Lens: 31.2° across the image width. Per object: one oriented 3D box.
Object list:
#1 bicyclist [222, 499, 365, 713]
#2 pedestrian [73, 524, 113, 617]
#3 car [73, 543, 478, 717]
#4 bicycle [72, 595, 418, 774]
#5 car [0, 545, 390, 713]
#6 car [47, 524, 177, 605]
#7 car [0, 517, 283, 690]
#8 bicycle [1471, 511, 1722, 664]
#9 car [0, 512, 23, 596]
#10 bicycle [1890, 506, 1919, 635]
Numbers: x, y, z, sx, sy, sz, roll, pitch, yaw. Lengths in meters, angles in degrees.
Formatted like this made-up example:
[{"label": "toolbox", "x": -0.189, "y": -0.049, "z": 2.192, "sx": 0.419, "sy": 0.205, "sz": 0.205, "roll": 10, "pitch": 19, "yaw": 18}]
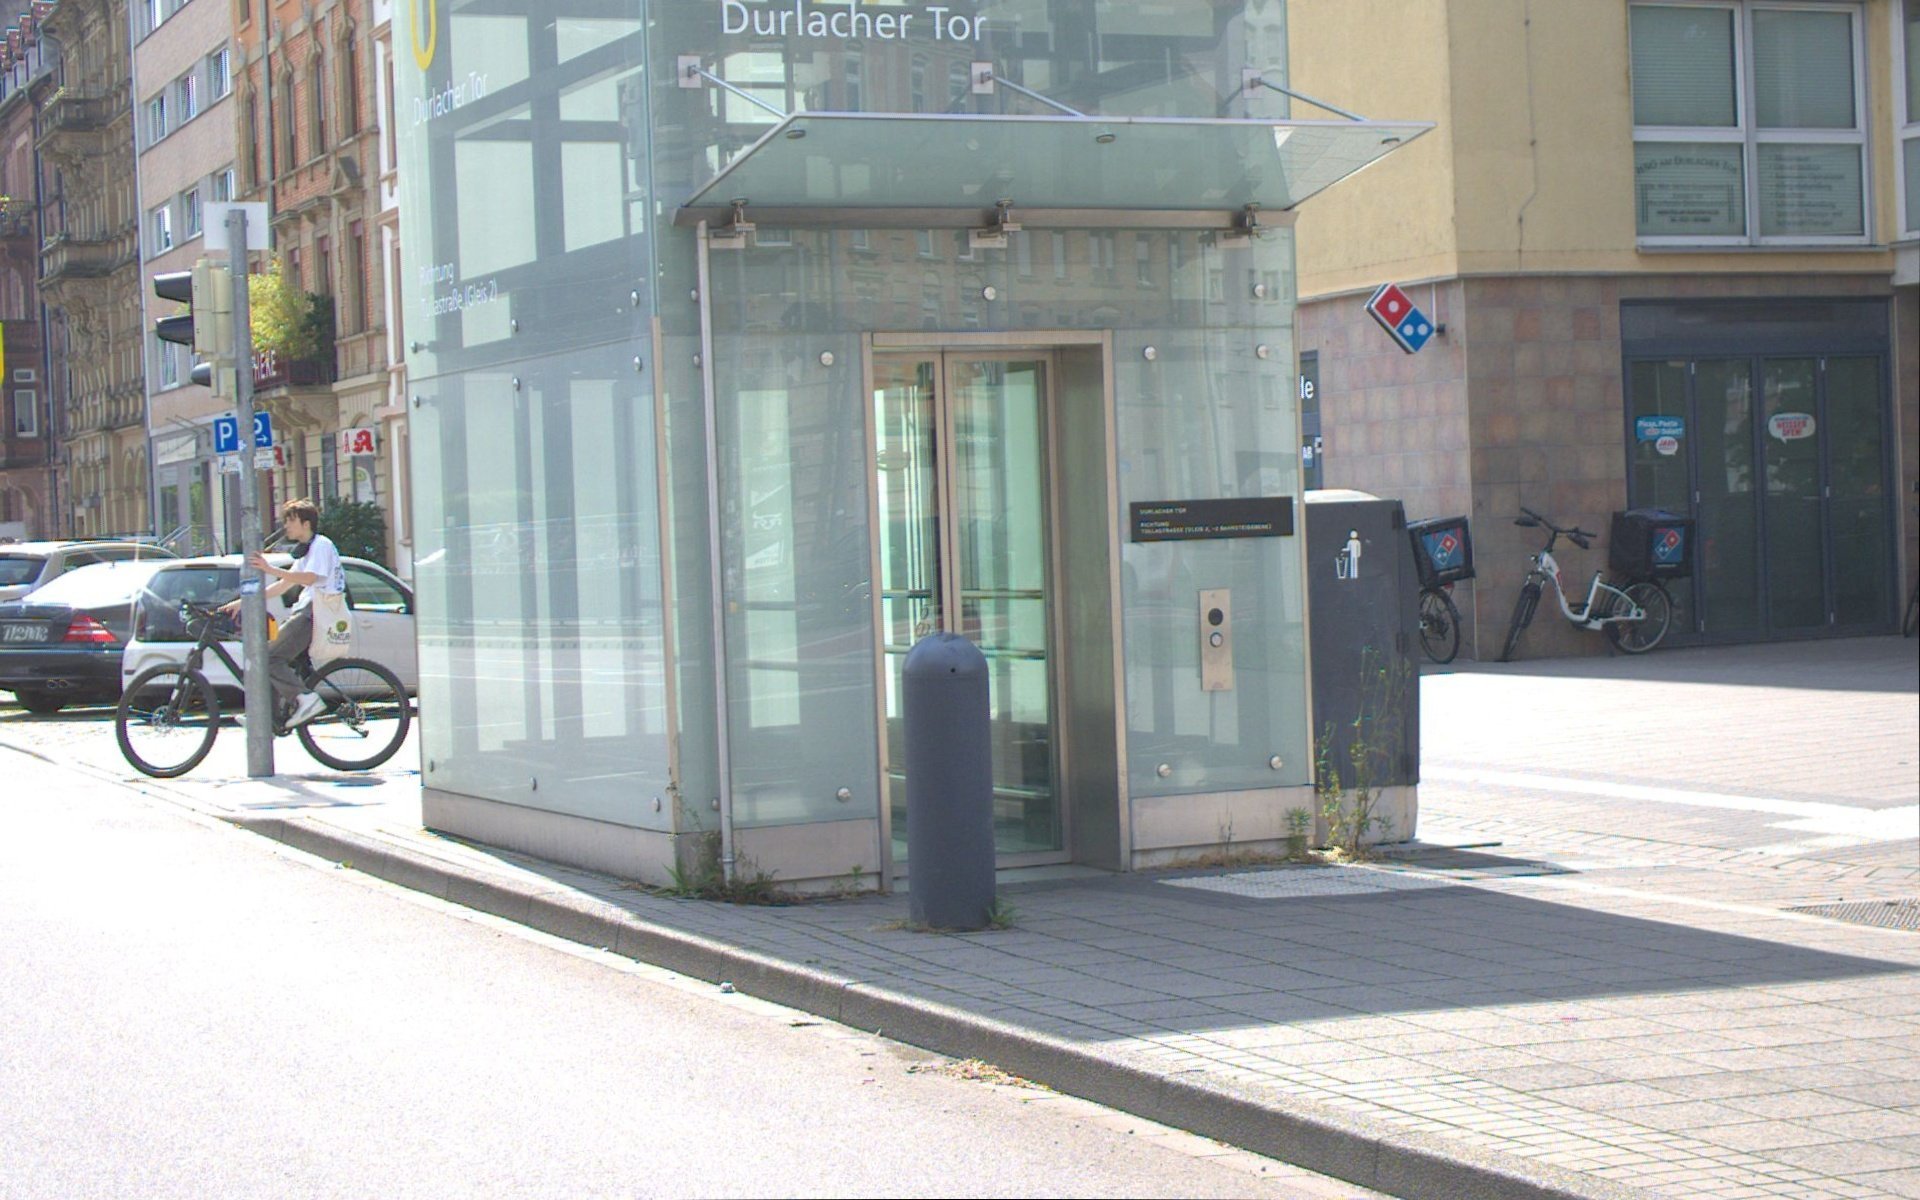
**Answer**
[{"label": "bicyclist", "x": -4.261, "y": 0.034, "z": 22.010, "sx": 0.781, "sy": 1.331, "sz": 0.395, "roll": -1, "pitch": 3, "yaw": 4}, {"label": "pedestrian", "x": -20.084, "y": -0.691, "z": 79.665, "sx": 0.721, "sy": 2.092, "sz": 0.786, "roll": -2, "pitch": 3, "yaw": -22}, {"label": "car", "x": -6.127, "y": 0.244, "z": 31.111, "sx": 1.776, "sy": 1.448, "sz": 3.491, "roll": -1, "pitch": 0, "yaw": 27}, {"label": "bicycle", "x": -4.585, "y": 0.543, "z": 22.089, "sx": 2.093, "sy": 1.102, "sz": 0.544, "roll": -1, "pitch": -1, "yaw": 4}, {"label": "car", "x": -7.747, "y": 0.243, "z": 33.411, "sx": 1.935, "sy": 1.455, "sz": 4.593, "roll": -1, "pitch": 1, "yaw": 28}, {"label": "car", "x": -21.337, "y": -0.878, "z": 86.405, "sx": 1.993, "sy": 1.855, "sz": 4.753, "roll": -3, "pitch": 1, "yaw": -28}, {"label": "car", "x": -9.512, "y": 0.011, "z": 36.856, "sx": 2.057, "sy": 1.641, "sz": 4.590, "roll": -1, "pitch": 2, "yaw": 25}, {"label": "bicycle", "x": 5.427, "y": -0.123, "z": 29.269, "sx": 2.189, "sy": 1.198, "sz": 0.478, "roll": -3, "pitch": 3, "yaw": -23}, {"label": "car", "x": -30.484, "y": -1.403, "z": 106.475, "sx": 1.993, "sy": 2.516, "sz": 5.890, "roll": -3, "pitch": 1, "yaw": -22}, {"label": "bicycle", "x": 9.105, "y": -0.285, "z": 30.874, "sx": 1.342, "sy": 1.125, "sz": 0.594, "roll": -2, "pitch": 3, "yaw": -19}]
